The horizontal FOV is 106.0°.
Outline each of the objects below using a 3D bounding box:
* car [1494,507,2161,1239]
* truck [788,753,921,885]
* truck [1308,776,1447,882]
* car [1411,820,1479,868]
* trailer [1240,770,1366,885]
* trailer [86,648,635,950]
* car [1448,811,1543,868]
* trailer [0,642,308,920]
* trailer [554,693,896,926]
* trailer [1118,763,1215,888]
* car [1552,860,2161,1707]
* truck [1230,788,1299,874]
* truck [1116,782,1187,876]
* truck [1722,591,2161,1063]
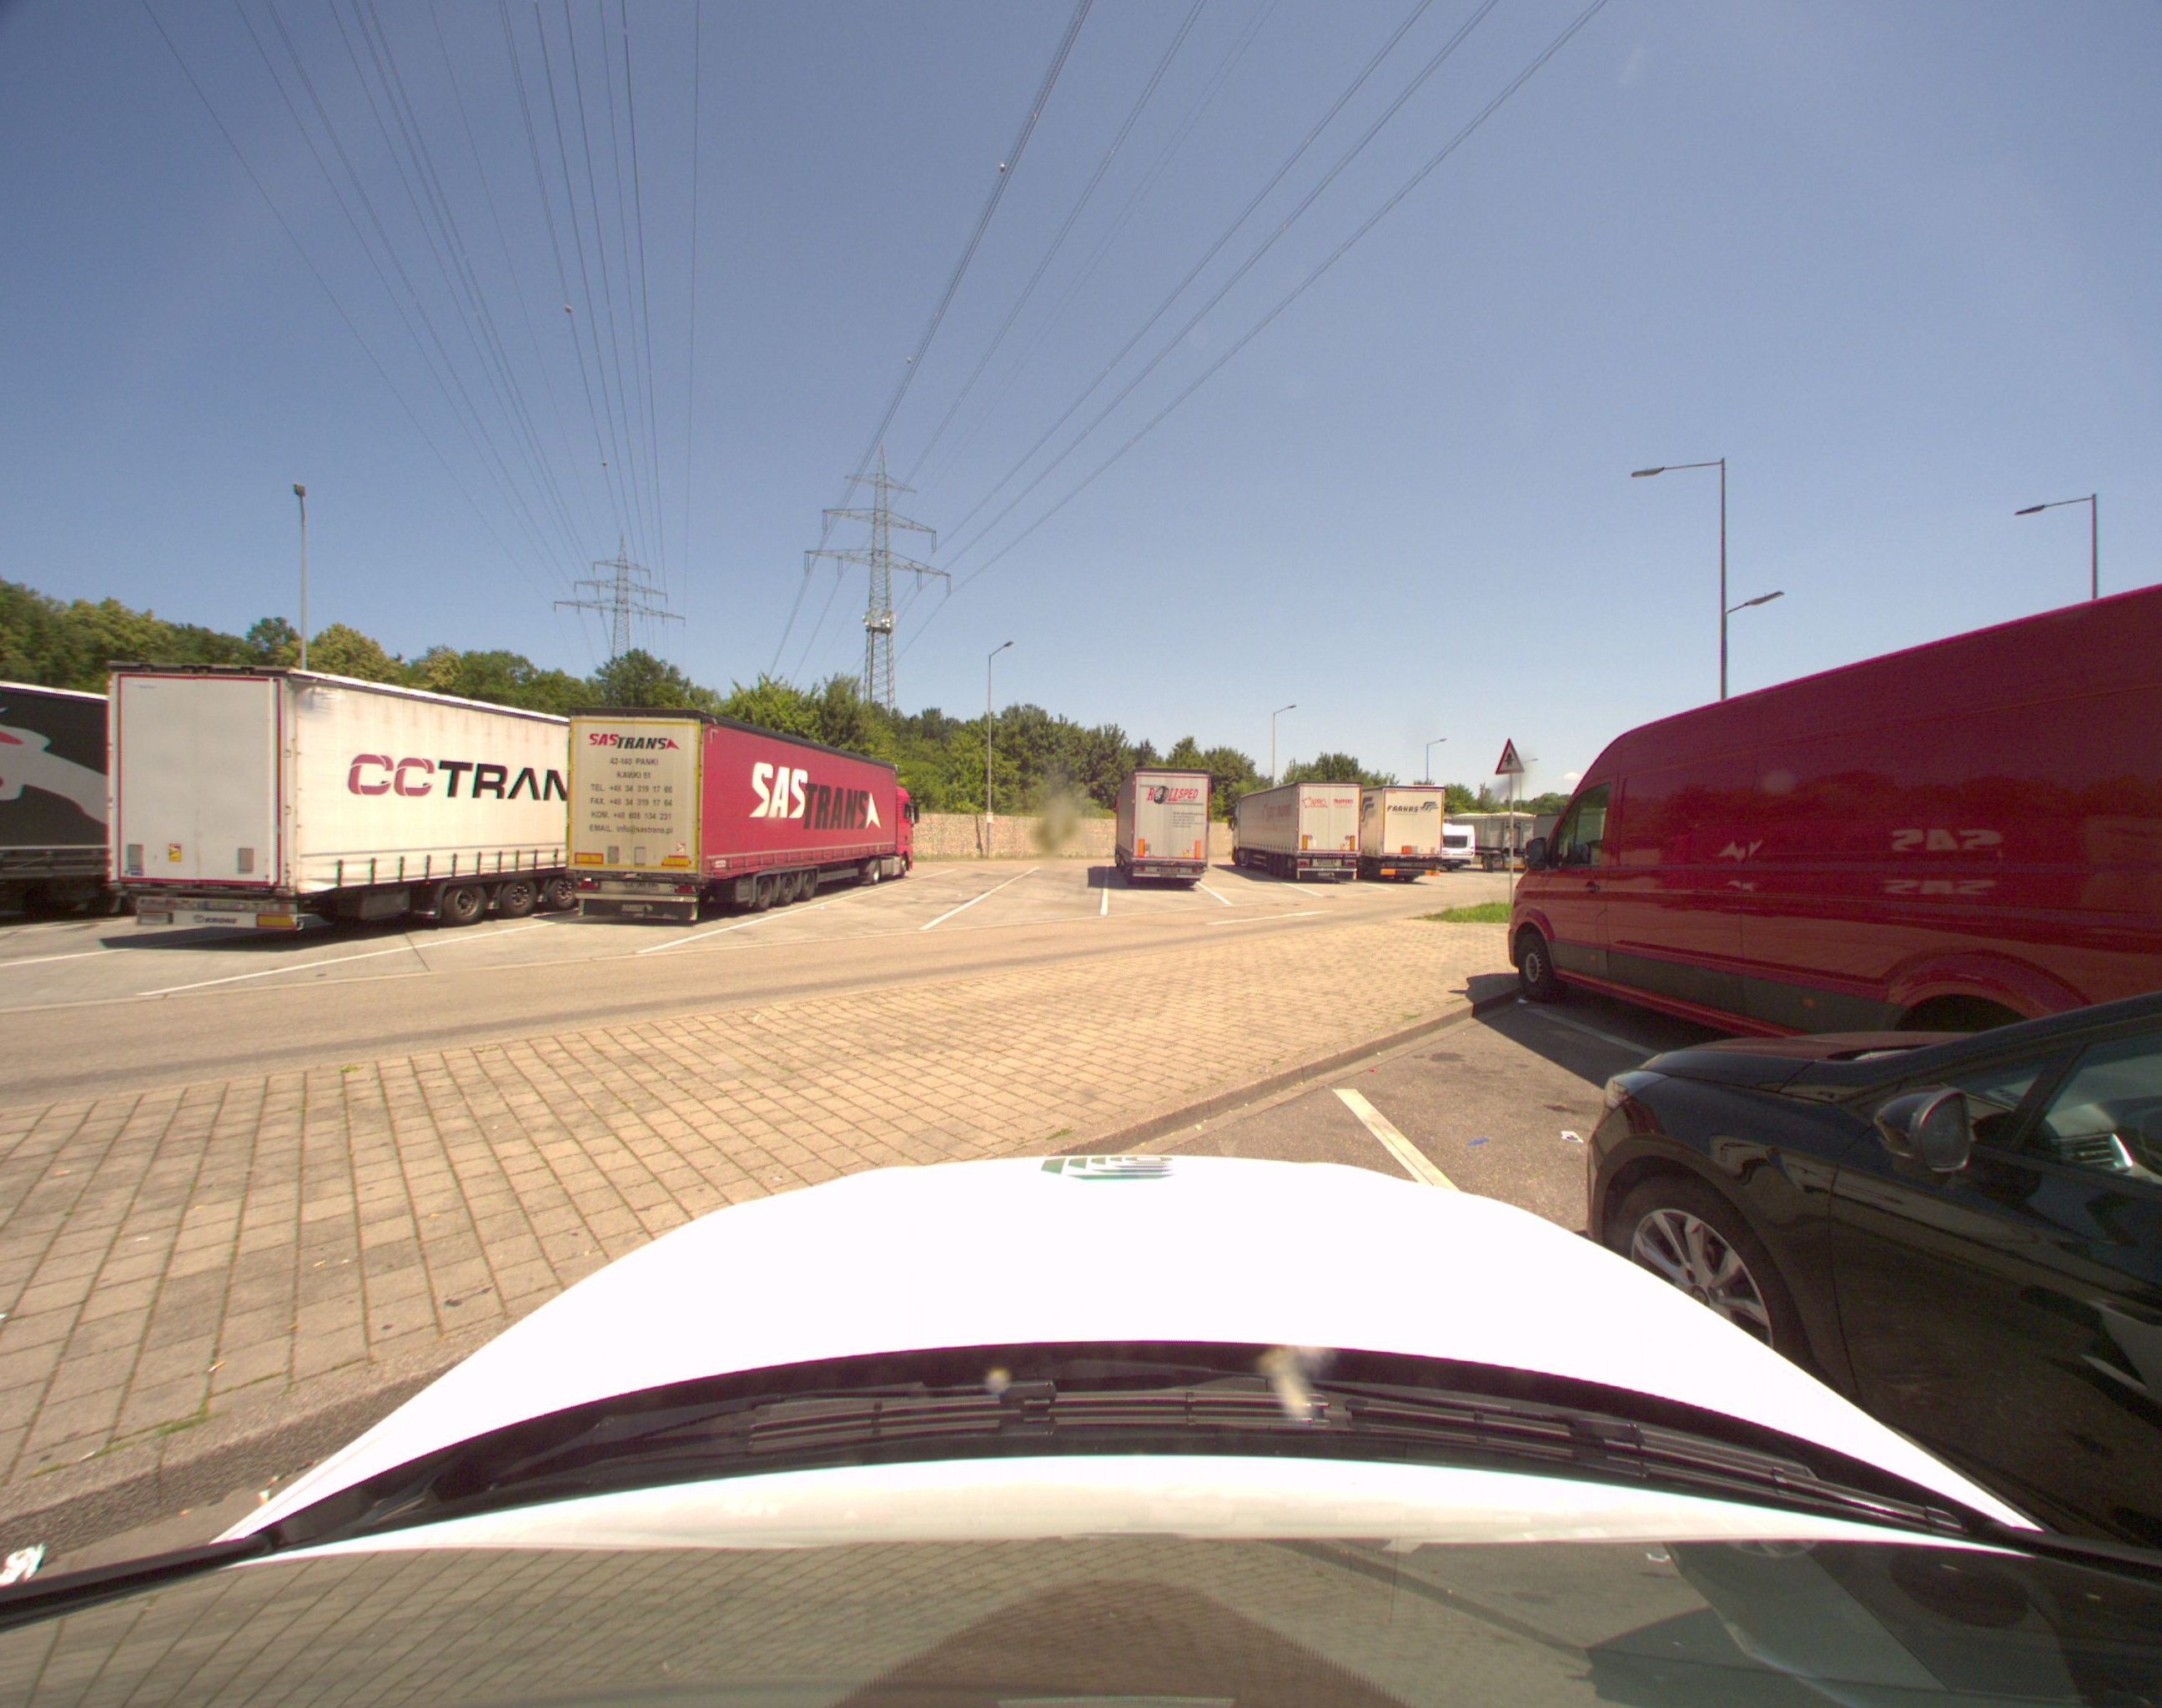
[{"bbox_3d":[5.135,0.024,5.504,1.984,2.633,6.393,-1,1,5],"label":"car"},{"bbox_3d":[-7.749,-1.147,28.722,2.795,4.133,5.896,-1,1,2],"label":"truck"},{"bbox_3d":[13.534,-0.951,38.596,2.577,4.226,11.974,0,-1,2],"label":"truck"},{"bbox_3d":[20.538,-0.530,46.143,2.107,2.599,4.001,0,-1,2],"label":"car"},{"bbox_3d":[9.904,-1.124,38.141,2.672,4.452,12.833,-1,1,1],"label":"trailer"},{"bbox_3d":[-12.184,-0.817,15.356,2.744,4.152,8.291,0,1,2],"label":"trailer"},{"bbox_3d":[24.136,-0.834,47.765,2.490,3.074,6.353,-1,1,2],"label":"car"},{"bbox_3d":[-18.560,-1.182,14.938,2.668,4.444,6.151,-1,1,2],"label":"trailer"},{"bbox_3d":[-7.997,-0.905,21.466,2.789,4.219,13.208,-1,1,2],"label":"trailer"},{"bbox_3d":[3.015,-1.011,32.008,2.886,4.013,11.321,-1,1,1],"label":"trailer"},{"bbox_3d":[2.544,0.740,0.921,1.772,1.457,3.682,0,-1,-3],"label":"car"},{"bbox_3d":[10.077,-1.244,45.189,2.651,4.452,5.866,-1,1,2],"label":"truck"},{"bbox_3d":[3.159,-1.102,37.872,2.861,3.980,6.031,-1,1,1],"label":"truck"},{"bbox_3d":[7.795,-0.159,6.011,2.508,2.827,4.821,0,-1,3],"label":"truck"}]
